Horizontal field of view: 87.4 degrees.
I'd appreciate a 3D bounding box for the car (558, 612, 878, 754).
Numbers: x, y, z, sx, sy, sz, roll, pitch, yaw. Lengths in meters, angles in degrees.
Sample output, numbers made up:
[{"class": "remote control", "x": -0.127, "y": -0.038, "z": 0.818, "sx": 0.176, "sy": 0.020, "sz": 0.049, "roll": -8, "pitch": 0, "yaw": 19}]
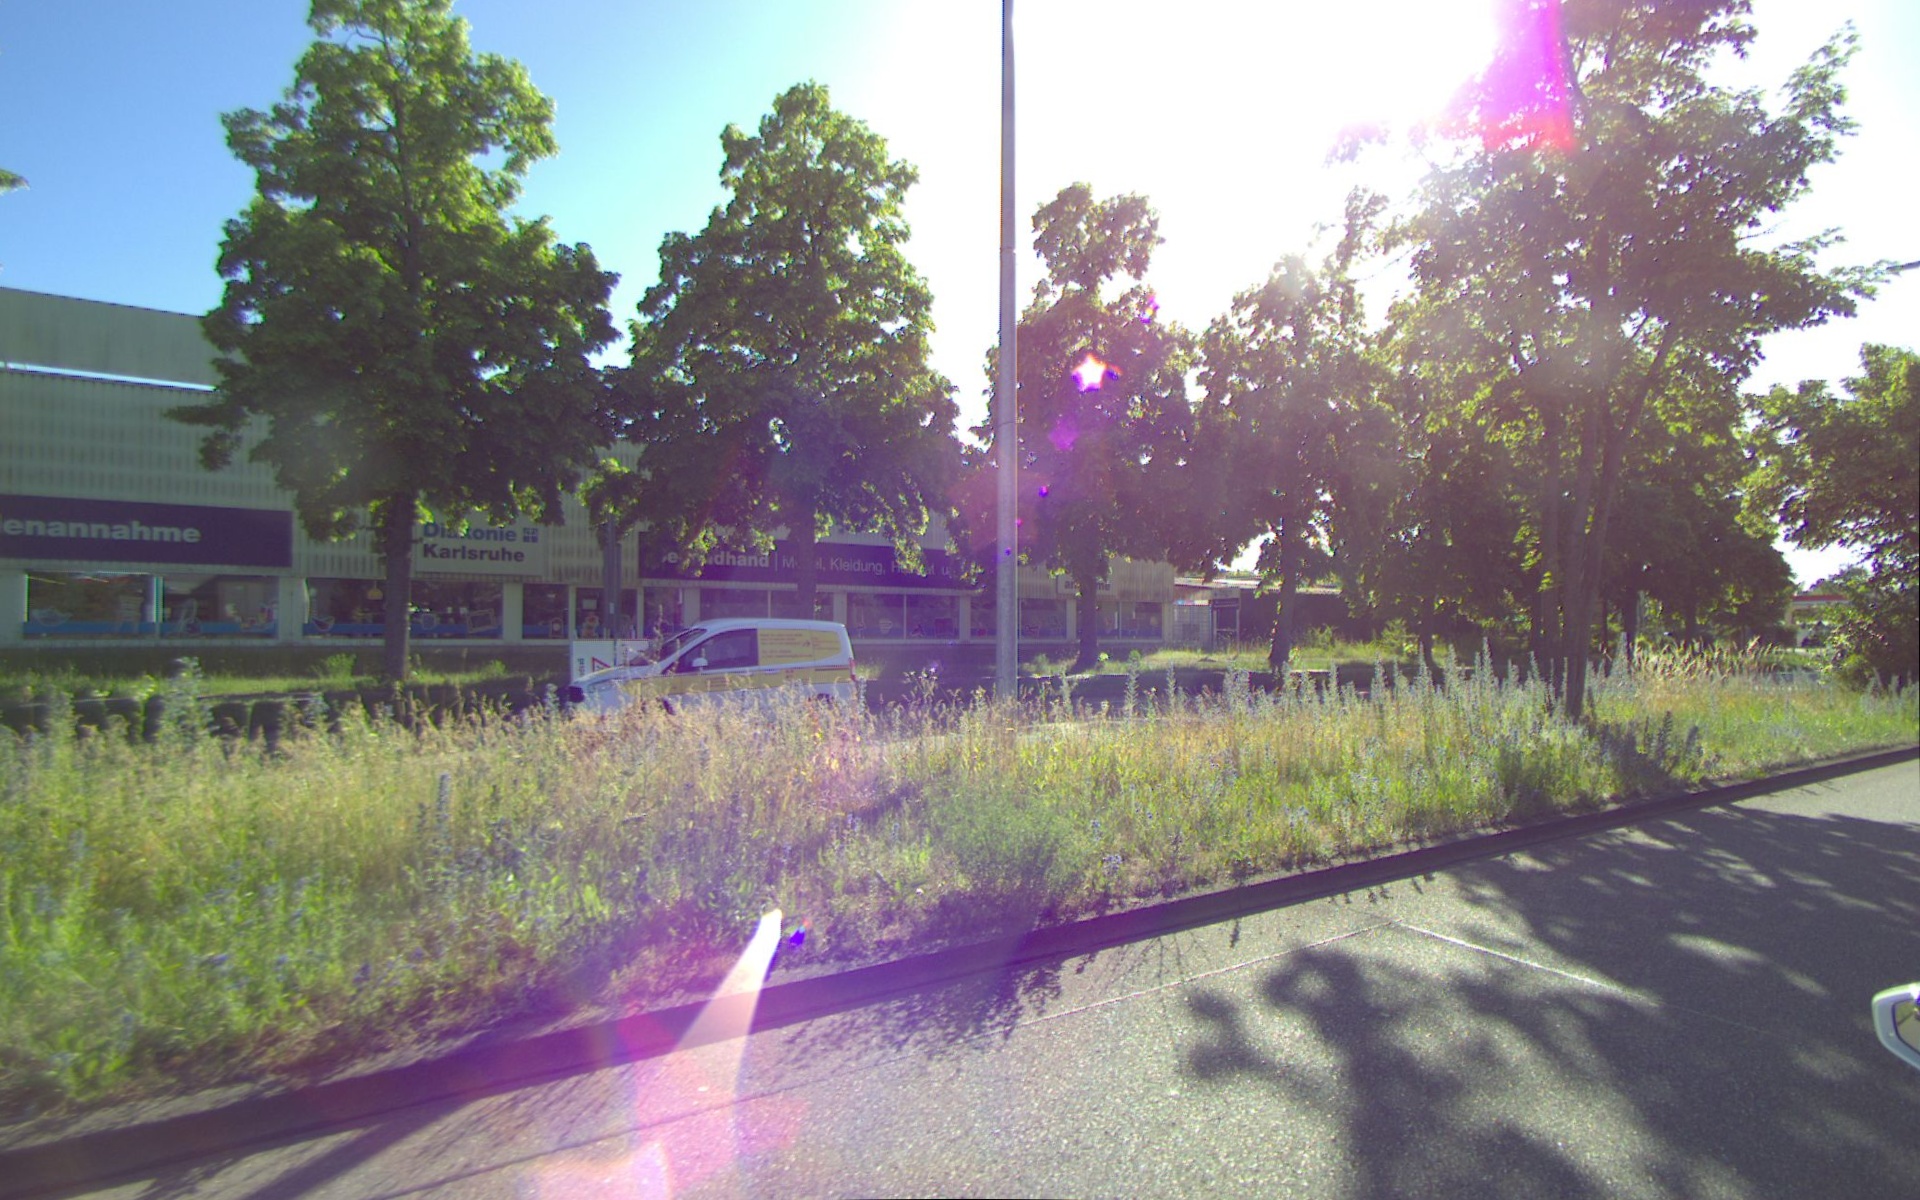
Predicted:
[{"class": "car", "x": -3.376, "y": 1.091, "z": 14.374, "sx": 4.125, "sy": 1.769, "sz": 1.695, "roll": 2, "pitch": -1, "yaw": -36}]
